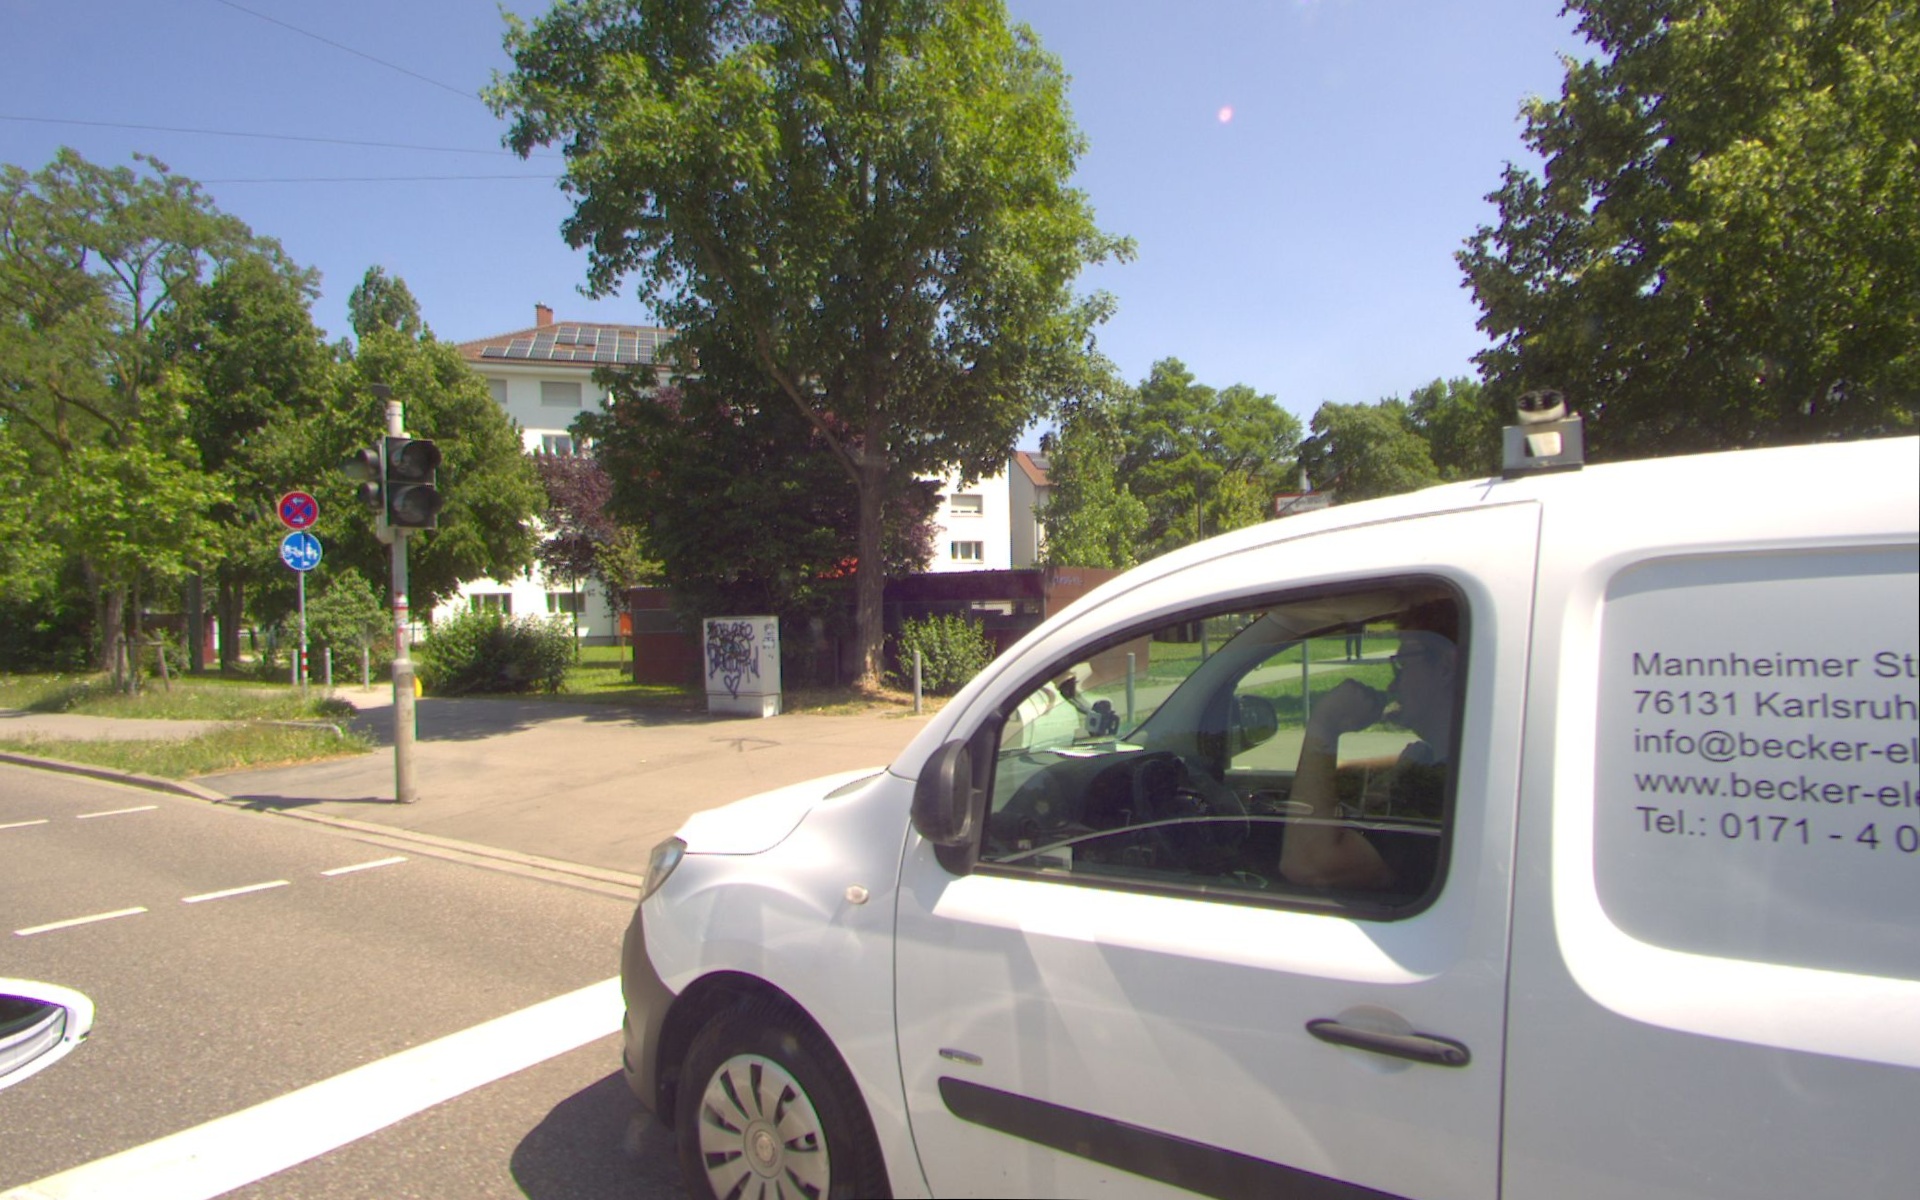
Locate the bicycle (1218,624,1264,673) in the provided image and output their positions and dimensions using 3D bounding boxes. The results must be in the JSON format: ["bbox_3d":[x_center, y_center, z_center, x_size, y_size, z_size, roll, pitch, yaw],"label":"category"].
[{"bbox_3d":[6.359,1.090,22.667,0.667,1.057,1.115,-1,-2,35],"label":"bicycle"}]

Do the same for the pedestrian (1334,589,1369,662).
[{"bbox_3d":[10.513,0.690,26.873,0.744,1.943,0.885,-1,-1,29],"label":"pedestrian"}]

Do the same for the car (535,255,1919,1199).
[{"bbox_3d":[1.479,0.567,1.991,5.011,1.879,1.801,-1,-2,33],"label":"car"}]

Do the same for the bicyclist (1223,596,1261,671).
[{"bbox_3d":[6.395,0.758,22.694,0.644,1.680,0.609,-1,-1,35],"label":"bicyclist"}]
